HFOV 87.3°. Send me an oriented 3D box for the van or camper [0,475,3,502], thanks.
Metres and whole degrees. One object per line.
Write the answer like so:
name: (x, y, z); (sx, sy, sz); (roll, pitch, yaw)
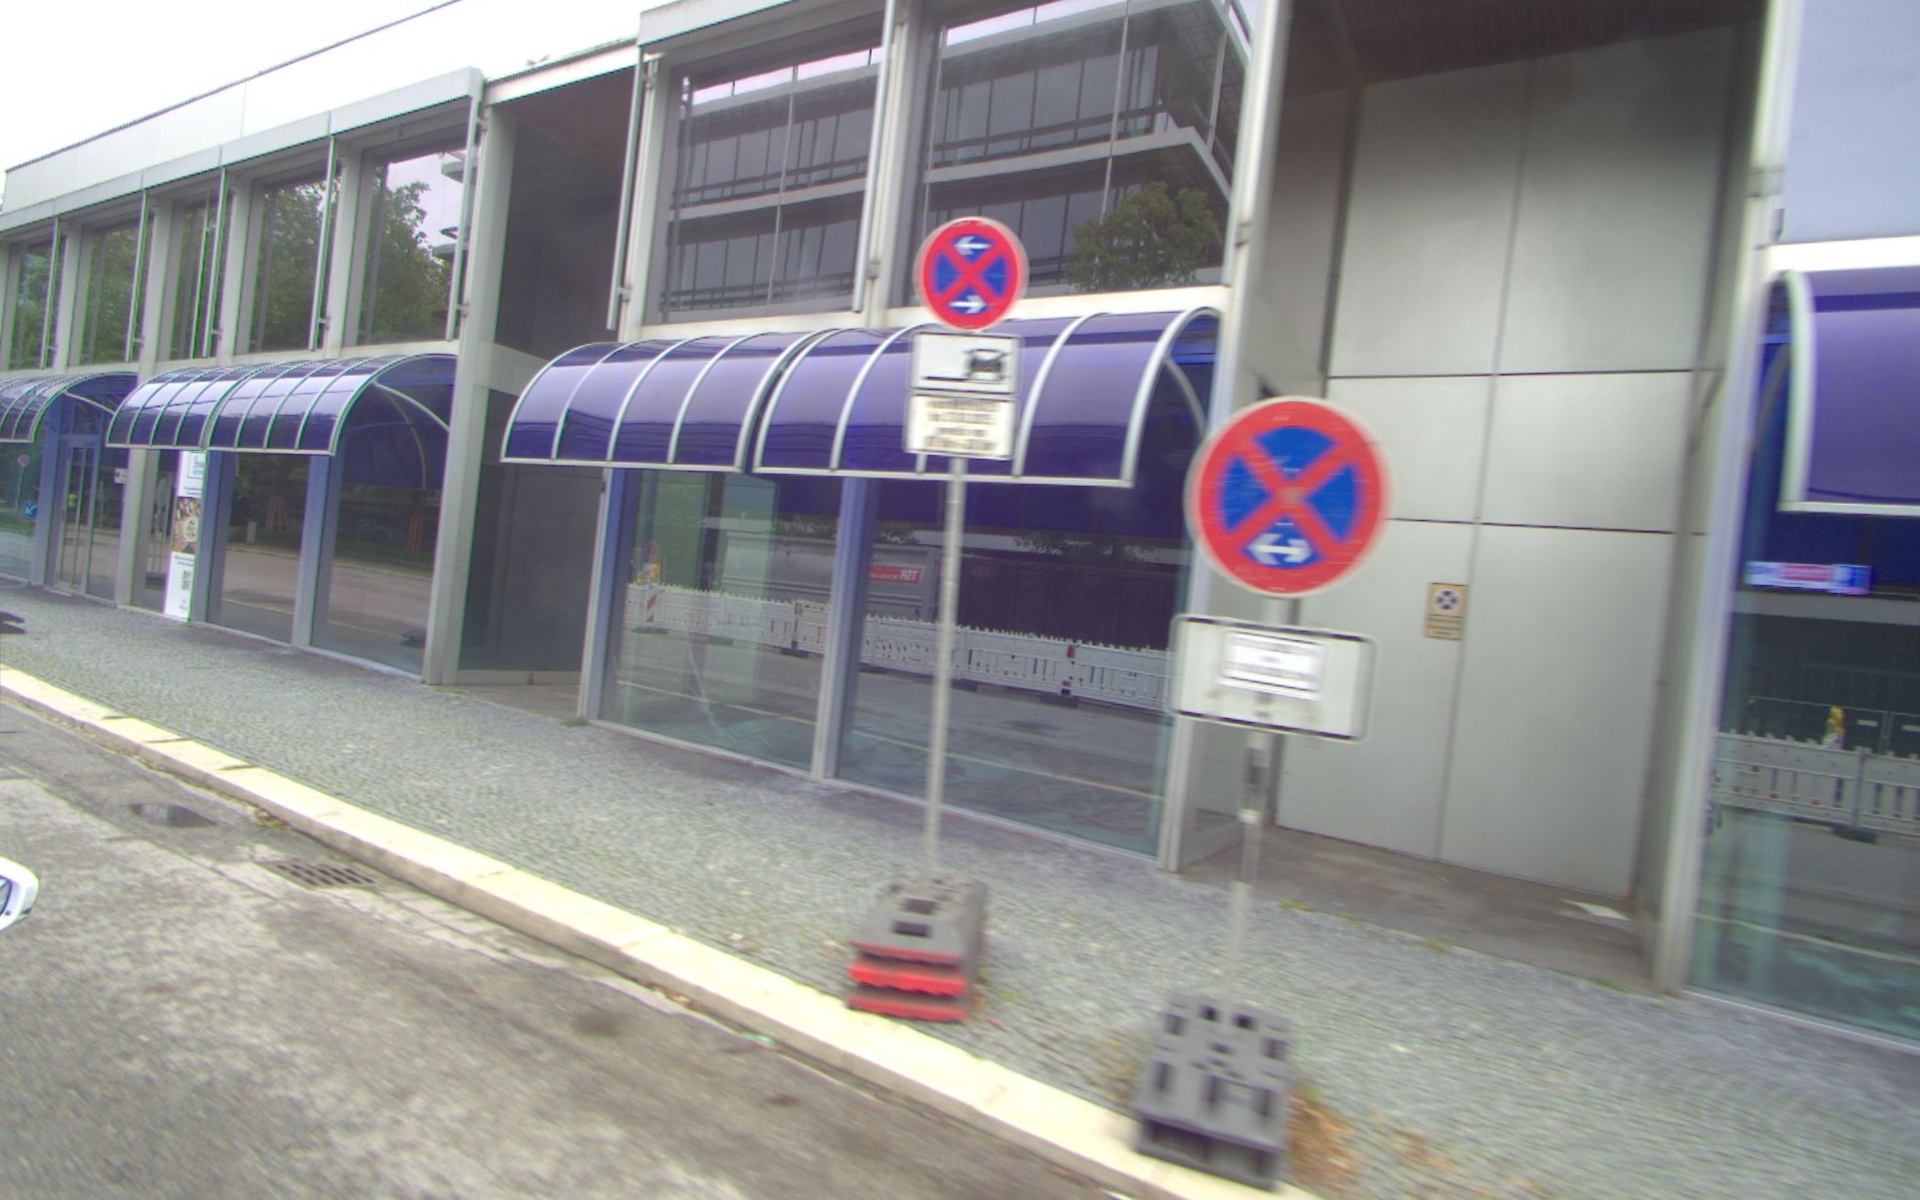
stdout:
van or camper: (-49.530, -5.160, 48.371); (2.069, 2.617, 4.464); (7, 0, 21)
